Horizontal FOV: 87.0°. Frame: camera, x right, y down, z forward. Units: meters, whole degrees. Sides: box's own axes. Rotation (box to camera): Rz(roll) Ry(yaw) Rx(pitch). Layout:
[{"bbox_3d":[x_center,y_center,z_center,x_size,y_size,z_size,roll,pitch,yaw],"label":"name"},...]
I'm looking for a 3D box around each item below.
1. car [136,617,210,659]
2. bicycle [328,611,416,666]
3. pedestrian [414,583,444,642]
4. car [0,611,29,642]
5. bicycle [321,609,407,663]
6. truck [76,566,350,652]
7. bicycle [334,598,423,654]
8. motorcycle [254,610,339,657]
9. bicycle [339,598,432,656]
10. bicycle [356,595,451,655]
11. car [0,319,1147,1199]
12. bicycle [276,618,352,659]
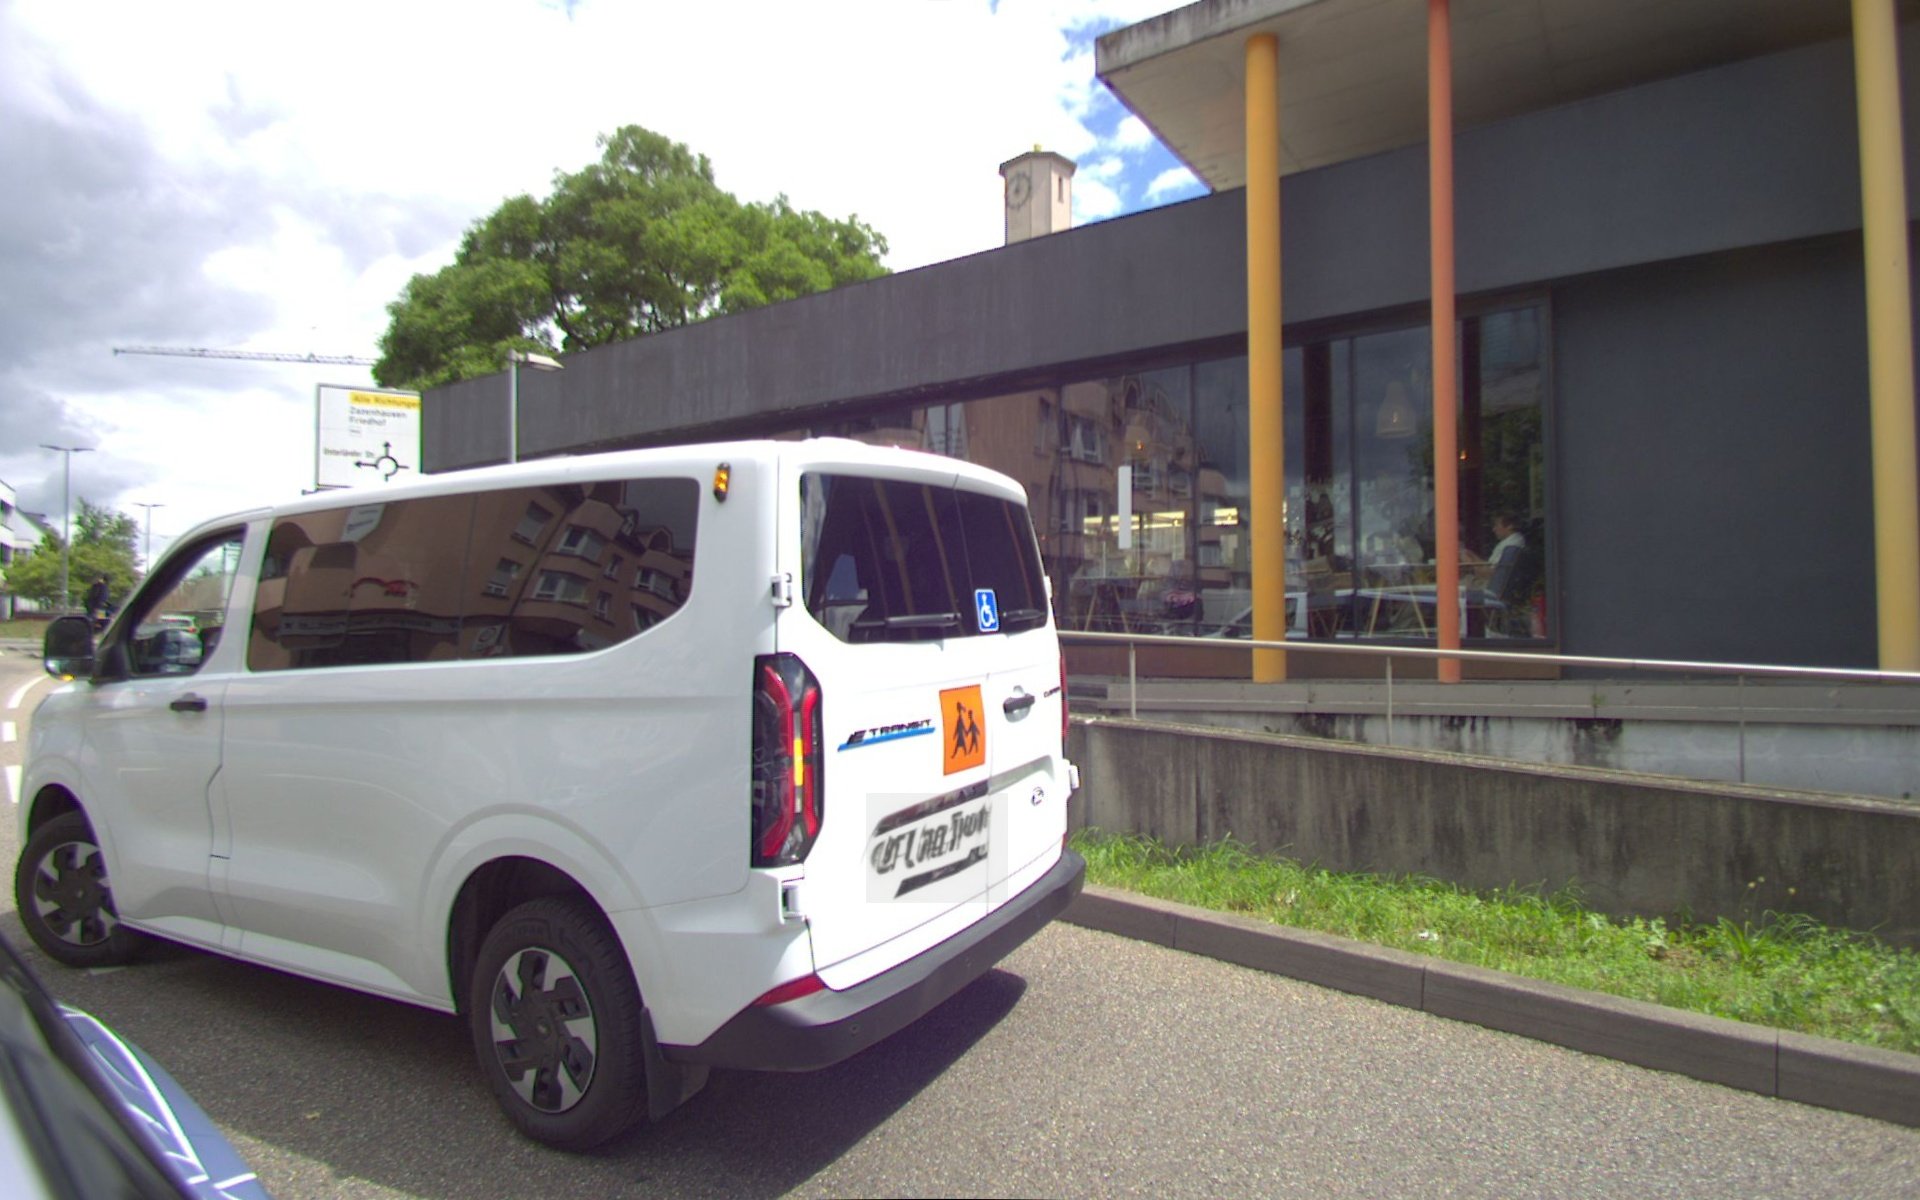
[{"bbox_3d":[-32.253,1.560,41.600,1.797,1.597,4.178,3,-3,-30],"label":"car"},{"bbox_3d":[-12.536,0.816,21.593,1.528,1.136,0.534,2,-3,-42],"label":"bicycle"},{"bbox_3d":[-15.194,0.373,28.940,0.651,1.641,0.801,0,-3,-35],"label":"pedestrian"},{"bbox_3d":[-53.207,1.443,54.990,1.816,1.675,4.004,0,0,-5],"label":"car"},{"bbox_3d":[-13.041,0.788,22.156,1.528,1.136,0.534,2,-3,-42],"label":"bicycle"},{"bbox_3d":[-36.908,0.379,50.620,2.679,3.871,10.709,0,0,38],"label":"truck"},{"bbox_3d":[-12.122,0.554,21.121,1.528,1.136,0.534,2,-3,-42],"label":"bicycle"},{"bbox_3d":[-21.233,1.079,32.423,2.163,1.460,0.649,2,-1,-44],"label":"motorcycle"},{"bbox_3d":[-11.588,0.547,20.437,1.528,1.136,0.534,2,-3,-42],"label":"bicycle"},{"bbox_3d":[-10.785,0.493,19.639,1.528,1.136,0.534,2,-3,-42],"label":"bicycle"},{"bbox_3d":[-2.115,0.476,4.340,5.375,2.029,1.979,-1,0,31],"label":"car"},{"bbox_3d":[-17.586,1.050,27.586,0.515,1.090,1.667,-4,-4,43],"label":"bicycle"}]
